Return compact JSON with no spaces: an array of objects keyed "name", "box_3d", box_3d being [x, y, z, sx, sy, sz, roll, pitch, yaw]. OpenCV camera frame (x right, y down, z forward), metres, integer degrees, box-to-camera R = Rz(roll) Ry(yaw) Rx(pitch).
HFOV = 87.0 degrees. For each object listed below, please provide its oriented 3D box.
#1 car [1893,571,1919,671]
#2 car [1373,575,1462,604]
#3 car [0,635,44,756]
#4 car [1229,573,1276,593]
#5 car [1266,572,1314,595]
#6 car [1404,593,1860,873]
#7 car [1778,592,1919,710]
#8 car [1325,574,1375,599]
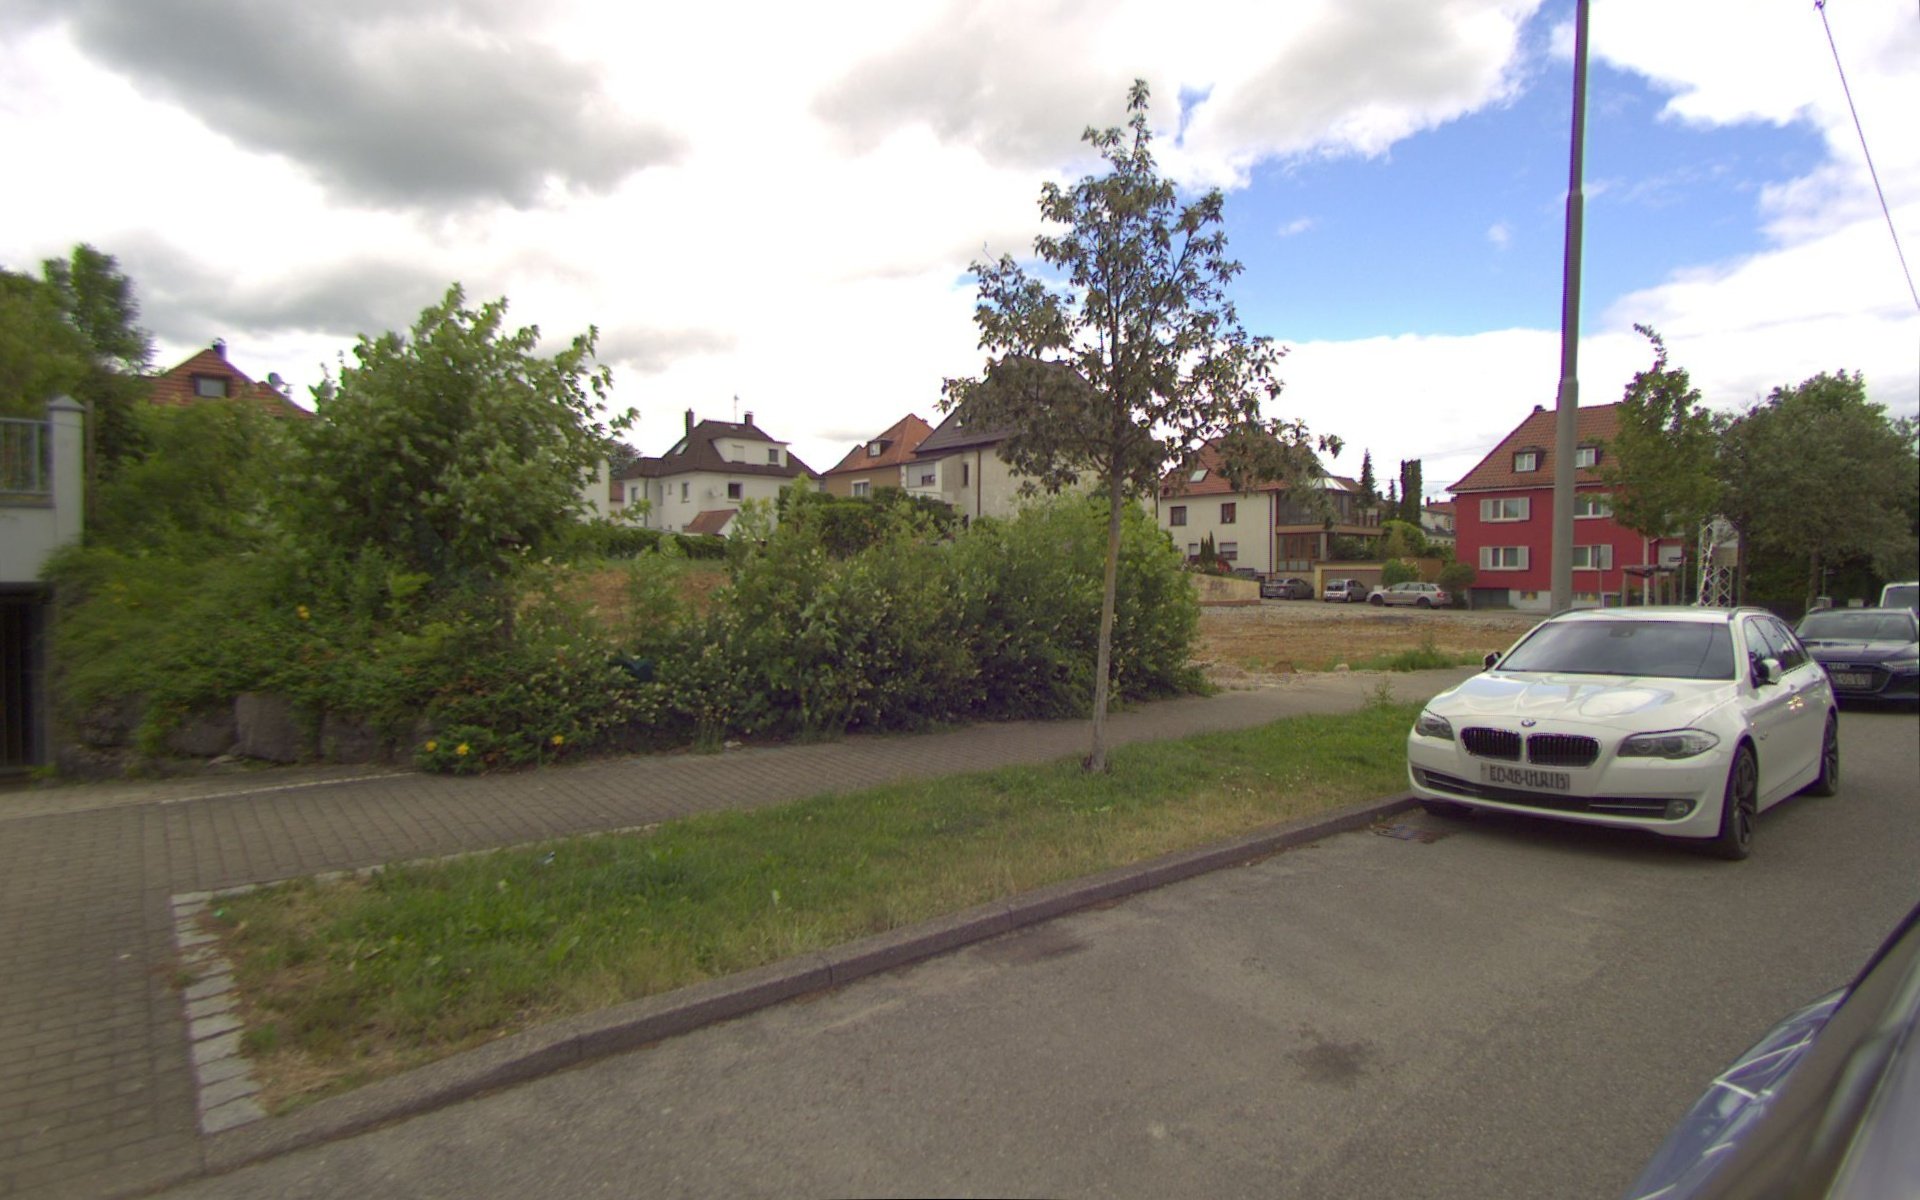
[{"name":"car","box_3d":[20.962,0.410,21.141,4.707,1.968,1.777,0,0,-42]},{"name":"car","box_3d":[25.814,-0.621,57.179,1.730,1.442,4.226,2,2,-42]},{"name":"car","box_3d":[-14.432,1.319,14.361,1.965,1.498,3.994,-1,0,-40]},{"name":"car","box_3d":[20.178,-1.151,69.784,3.442,1.341,1.619,-1,0,-43]},{"name":"car","box_3d":[22.112,-1.099,67.776,3.442,1.486,1.619,-1,0,-43]},{"name":"car","box_3d":[5.089,0.705,7.402,4.327,1.472,1.696,0,-1,-41]},{"name":"car","box_3d":[13.591,0.664,15.042,4.149,1.535,1.667,0,0,-43]},{"name":"car","box_3d":[24.674,-0.837,64.007,3.442,1.560,1.619,-1,0,-43]}]
